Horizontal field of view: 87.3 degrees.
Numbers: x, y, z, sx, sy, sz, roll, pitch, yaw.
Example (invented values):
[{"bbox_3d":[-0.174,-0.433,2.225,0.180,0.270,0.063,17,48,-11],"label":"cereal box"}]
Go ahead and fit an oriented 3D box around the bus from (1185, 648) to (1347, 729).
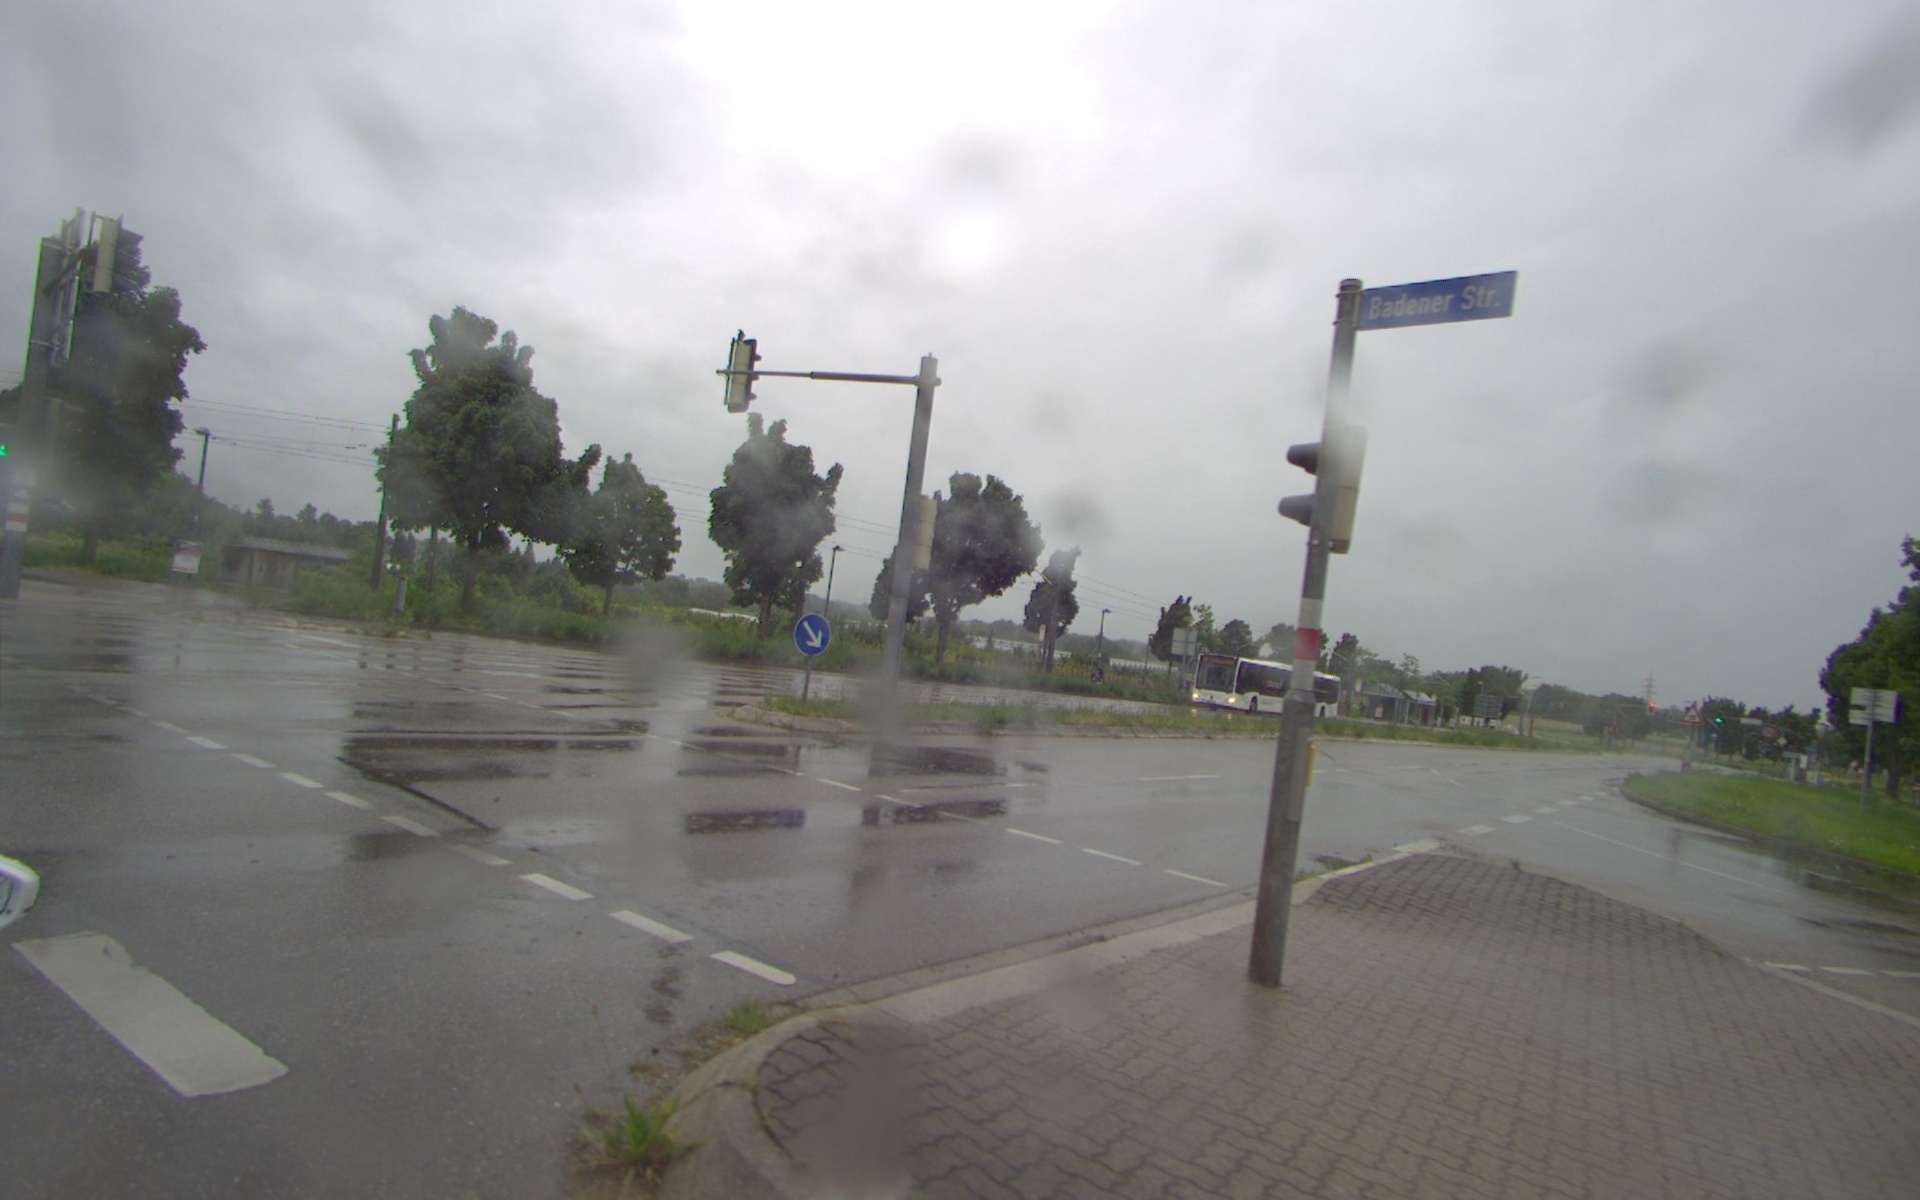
[{"bbox_3d":[18.901,5.570,60.424,2.715,3.827,18.384,7,-2,38],"label":"bus"}]
